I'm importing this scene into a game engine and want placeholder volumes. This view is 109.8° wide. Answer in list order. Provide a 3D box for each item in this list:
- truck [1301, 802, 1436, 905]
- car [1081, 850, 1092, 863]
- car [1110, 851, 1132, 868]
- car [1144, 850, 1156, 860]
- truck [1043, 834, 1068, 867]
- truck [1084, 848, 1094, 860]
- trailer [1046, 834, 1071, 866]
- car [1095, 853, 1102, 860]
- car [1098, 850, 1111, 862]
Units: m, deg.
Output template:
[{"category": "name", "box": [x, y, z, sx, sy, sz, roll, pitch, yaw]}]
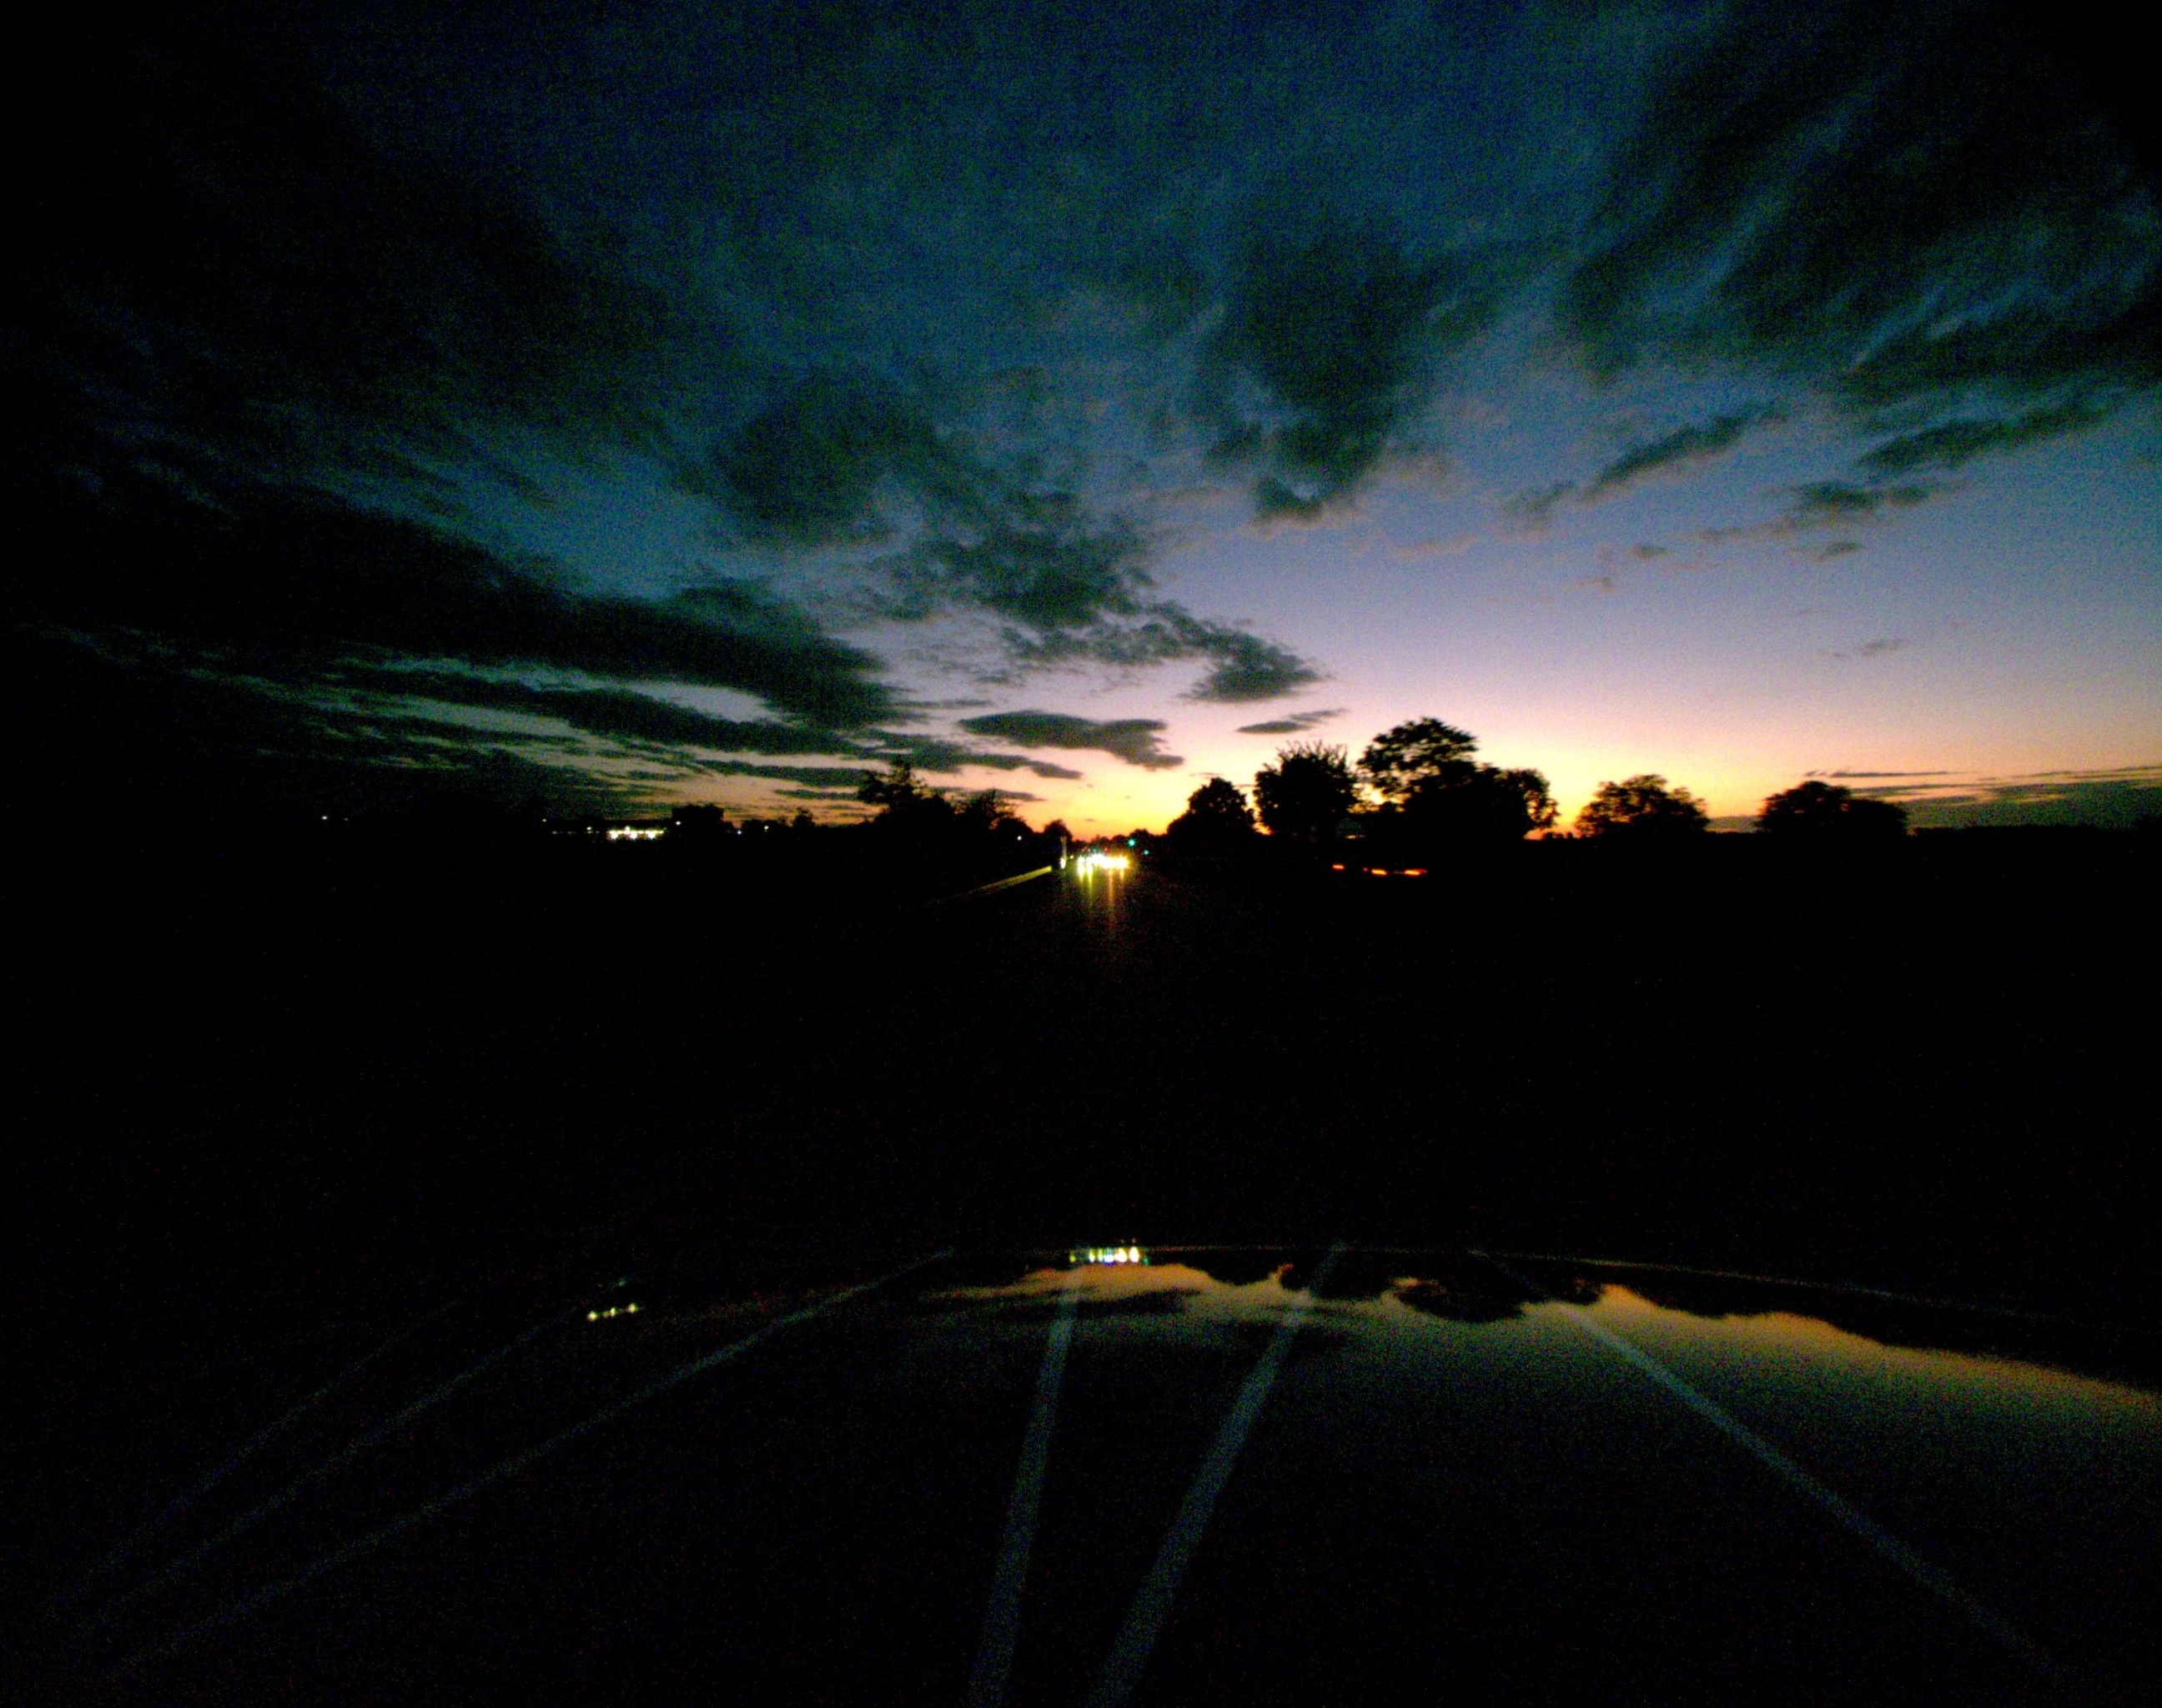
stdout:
[{"category": "truck", "box": [16.525, -0.087, 45.159, 3.210, 5.225, 12.607, 1, 1, 0]}, {"category": "car", "box": [0.884, 0.367, 123.761, 1.741, 2.002, 4.000, -2, 0, 0]}, {"category": "car", "box": [4.010, 0.562, 77.512, 1.998, 1.635, 4.296, -2, 0, 0]}, {"category": "car", "box": [14.690, 0.137, 162.178, 1.970, 2.087, 5.346, -2, 1, 0]}, {"category": "truck", "box": [-3.011, -0.455, 90.655, 2.490, 3.778, 5.498, -2, 1, 2]}, {"category": "truck", "box": [2.598, -0.134, 243.274, 3.016, 3.674, 9.057, -2, 1, 0]}, {"category": "trailer", "box": [-2.797, -0.501, 98.313, 2.474, 3.789, 12.671, -2, 0, 1]}, {"category": "car", "box": [5.496, 0.825, 236.785, 1.998, 2.002, 4.000, -2, 1, 2]}, {"category": "car", "box": [3.908, 0.351, 124.791, 1.998, 1.778, 4.000, -2, 1, 1]}]
